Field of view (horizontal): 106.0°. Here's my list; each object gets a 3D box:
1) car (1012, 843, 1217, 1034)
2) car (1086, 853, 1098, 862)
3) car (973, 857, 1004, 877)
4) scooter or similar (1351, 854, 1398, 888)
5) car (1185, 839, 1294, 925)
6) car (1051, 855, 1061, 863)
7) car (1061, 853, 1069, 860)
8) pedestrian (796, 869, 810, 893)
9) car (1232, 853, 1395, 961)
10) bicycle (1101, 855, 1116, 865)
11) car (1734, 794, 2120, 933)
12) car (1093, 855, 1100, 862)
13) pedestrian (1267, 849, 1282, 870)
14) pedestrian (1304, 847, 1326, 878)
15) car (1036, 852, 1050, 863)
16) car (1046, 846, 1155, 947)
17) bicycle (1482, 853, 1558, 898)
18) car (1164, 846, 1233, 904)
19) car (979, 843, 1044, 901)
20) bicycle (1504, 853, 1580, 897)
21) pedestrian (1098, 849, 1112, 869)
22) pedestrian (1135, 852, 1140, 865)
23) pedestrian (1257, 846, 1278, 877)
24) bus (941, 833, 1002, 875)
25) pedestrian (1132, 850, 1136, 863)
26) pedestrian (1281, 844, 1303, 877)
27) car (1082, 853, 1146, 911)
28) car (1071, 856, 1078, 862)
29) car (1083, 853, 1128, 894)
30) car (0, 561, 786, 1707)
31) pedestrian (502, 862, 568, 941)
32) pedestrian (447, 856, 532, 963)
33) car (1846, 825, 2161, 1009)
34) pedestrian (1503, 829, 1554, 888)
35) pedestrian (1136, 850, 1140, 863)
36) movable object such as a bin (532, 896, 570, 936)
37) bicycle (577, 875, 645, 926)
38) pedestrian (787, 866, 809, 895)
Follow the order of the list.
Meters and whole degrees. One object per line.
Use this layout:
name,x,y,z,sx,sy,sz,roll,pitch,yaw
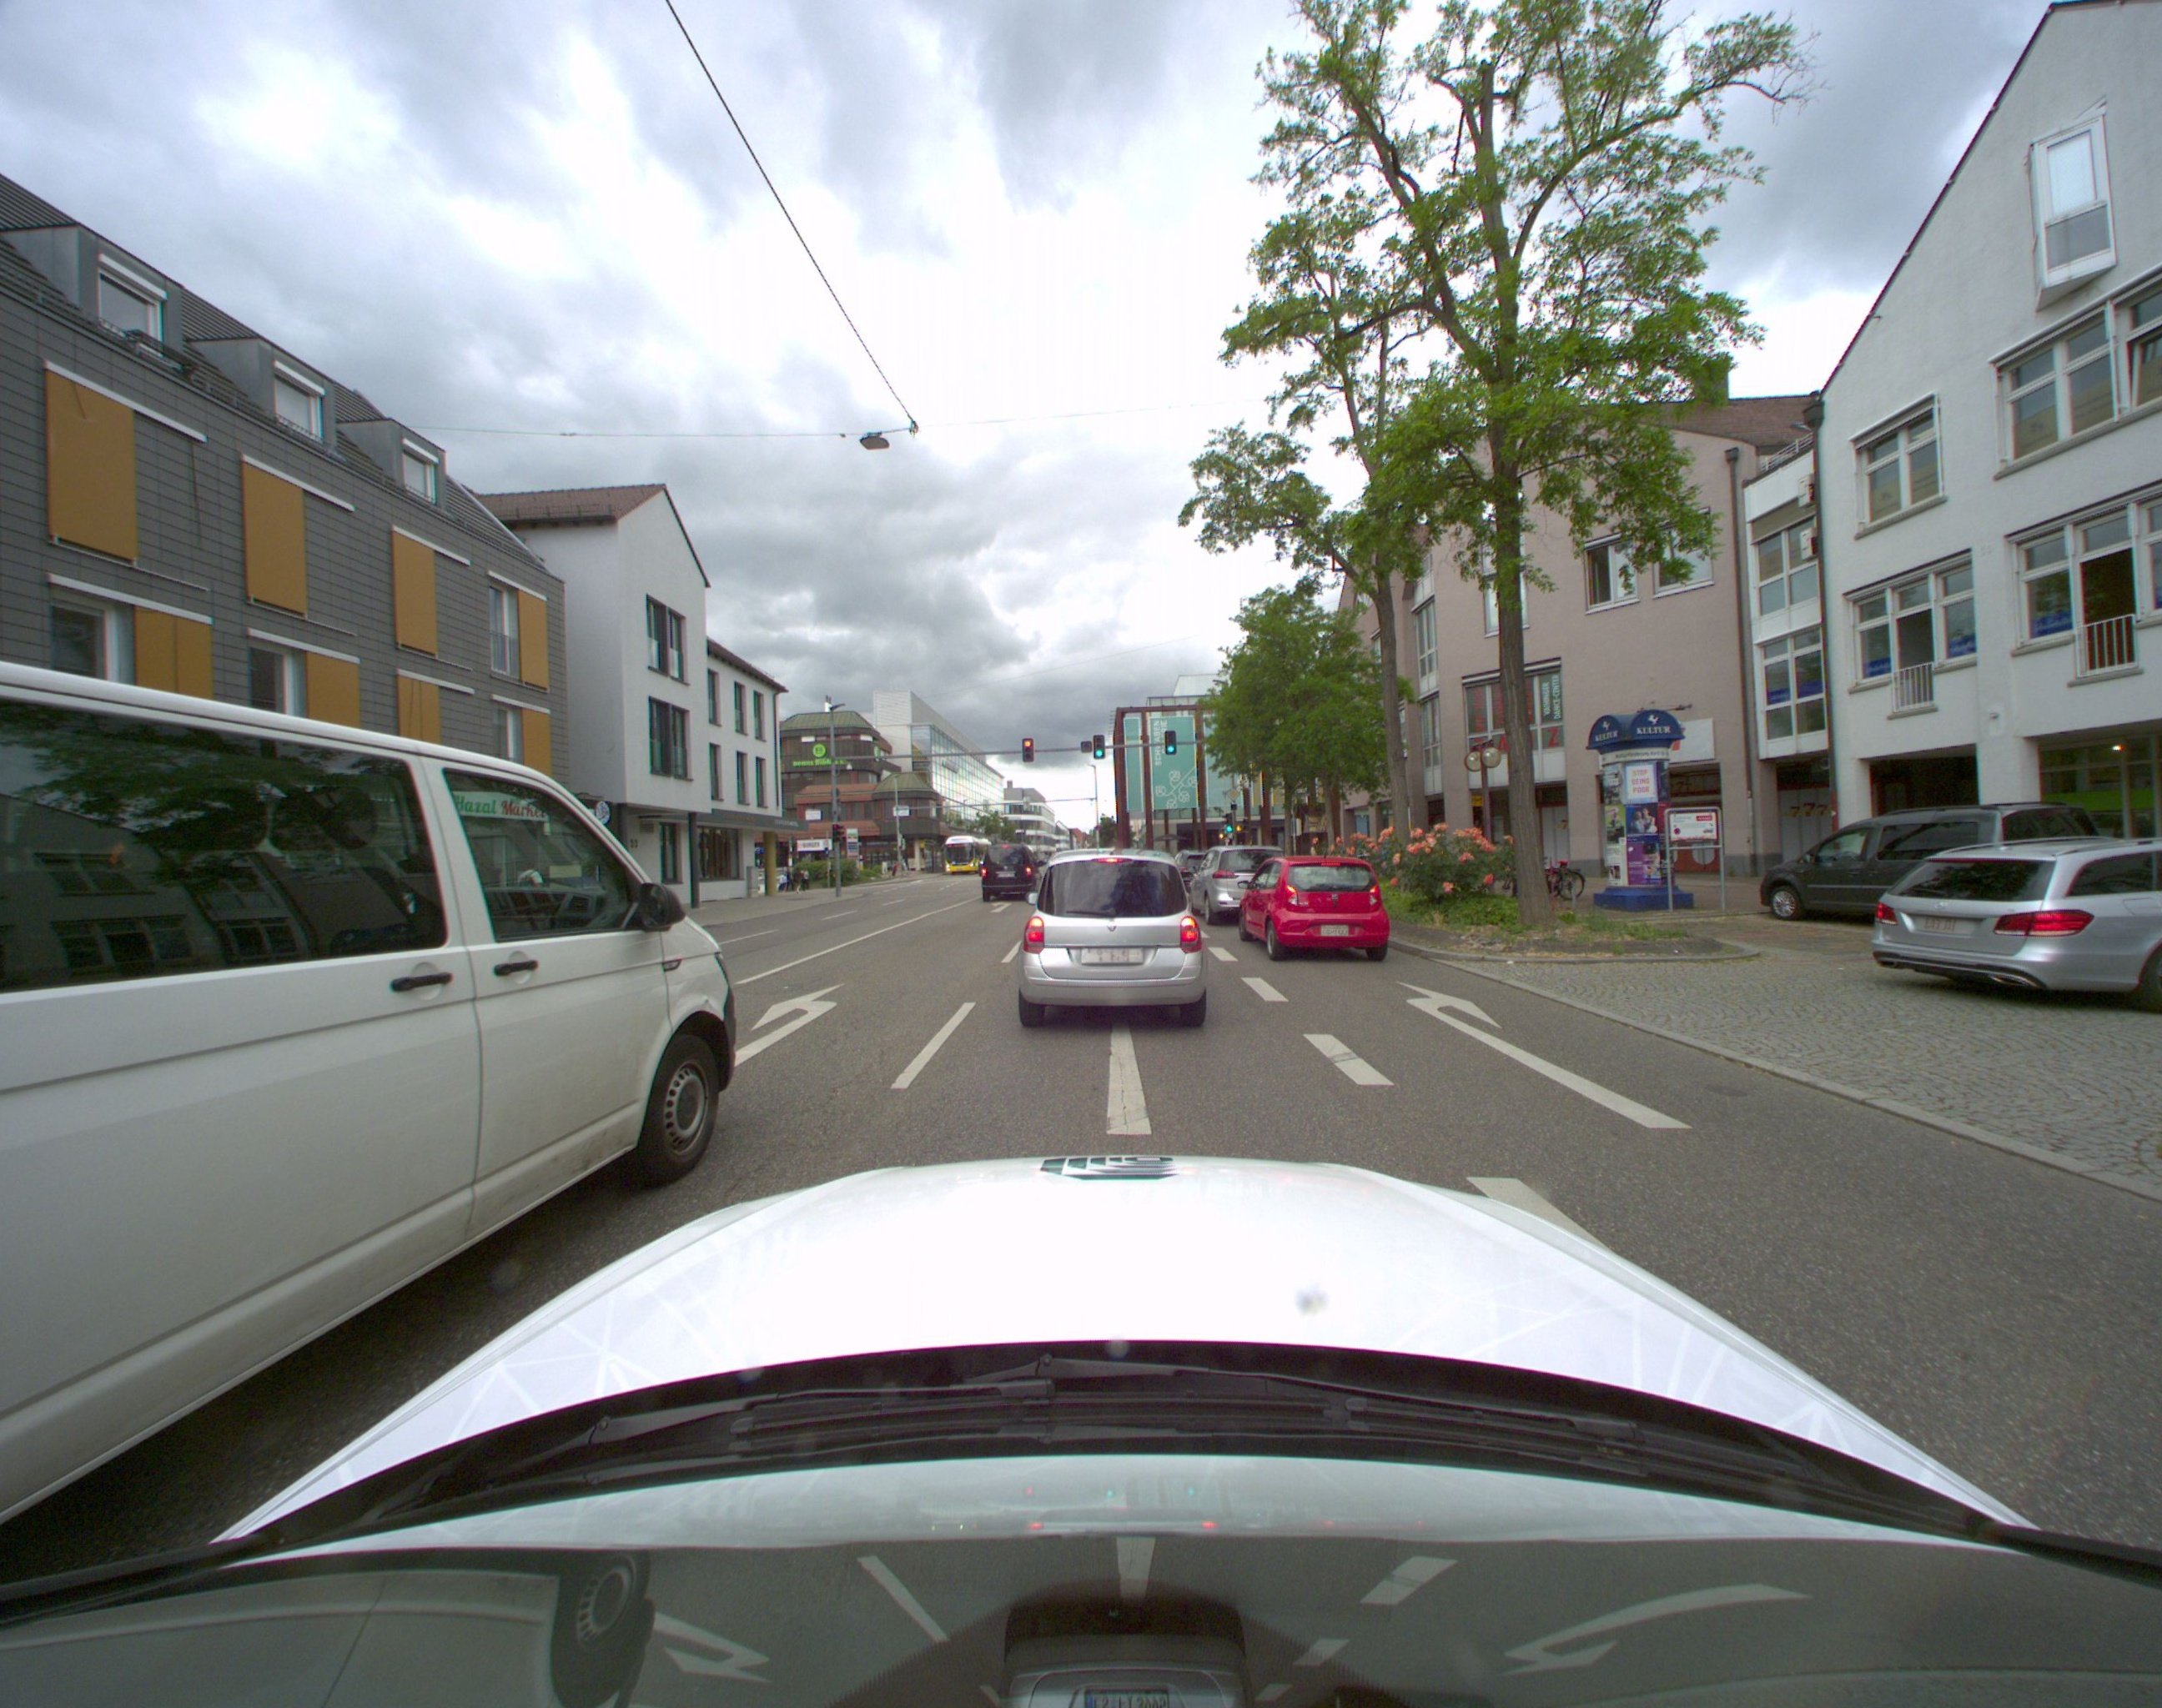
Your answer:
car,0.328,0.687,8.465,1.663,1.554,3.643,0,0,2
car,1.805,0.553,133.323,1.654,1.465,4.002,-3,0,2
car,-7.303,0.983,64.619,1.752,1.448,4.037,-3,0,2
scooter or similar,9.960,0.581,27.723,0.471,1.087,1.878,-3,-1,-15
car,3.420,0.548,18.322,1.733,1.701,4.382,0,0,2
car,-4.811,0.896,156.069,1.654,1.465,4.002,-3,0,2
car,-3.611,0.635,183.987,1.654,1.465,4.002,-3,0,2
pedestrian,-18.192,1.767,53.339,0.636,1.588,0.526,-2,0,3
car,3.450,0.706,12.733,1.620,1.448,3.643,0,0,2
bicycle,2.991,0.646,88.198,1.553,0.992,0.753,-2,0,4
car,13.198,0.130,13.183,1.729,1.804,4.260,-3,0,-1
car,3.636,1.013,192.780,1.654,1.465,4.002,-3,0,2
pedestrian,14.491,0.412,61.024,0.818,1.595,1.040,-2,0,2
pedestrian,13.574,0.488,47.311,0.876,1.767,1.120,-2,0,-1
car,-5.392,0.466,115.682,1.654,1.465,4.002,-3,0,2
car,0.359,0.648,14.344,1.663,1.554,3.643,0,0,2
bicycle,10.752,0.535,19.962,1.549,1.048,0.409,-2,0,43
car,3.682,0.605,26.162,1.733,1.701,4.382,0,0,2
car,-2.303,0.566,28.118,1.701,1.820,4.573,0,0,2
bicycle,11.409,0.532,20.168,1.549,1.048,0.409,-2,0,43
pedestrian,1.973,0.411,66.813,0.861,1.646,0.685,-2,0,36
pedestrian,5.168,0.391,74.575,0.445,1.220,0.607,-2,0,4
pedestrian,10.422,0.413,45.549,0.876,1.681,1.120,-2,0,-1
bus,-9.865,-0.059,75.094,2.975,3.327,12.318,-5,0,4
pedestrian,6.302,0.280,97.026,0.425,1.549,0.481,-2,0,0
pedestrian,11.961,0.364,46.266,0.876,1.767,1.120,-2,0,-1
car,0.907,0.710,22.823,1.663,1.495,3.643,0,0,2
car,-1.874,1.313,225.218,1.654,1.465,4.002,-3,0,2
car,0.956,0.701,31.769,1.663,1.495,3.643,0,0,2
car,-2.818,0.508,2.395,1.986,2.013,4.842,-1,0,2
pedestrian,-12.014,1.023,17.934,0.879,1.643,0.977,-2,0,41
pedestrian,-10.693,0.972,14.762,0.704,1.839,1.029,-2,0,3
car,10.518,0.477,7.832,4.622,1.453,1.740,-3,0,1
pedestrian,12.962,0.131,23.635,0.806,1.626,1.093,-3,0,-1
pedestrian,6.817,0.277,97.163,0.425,1.549,0.481,-2,0,0
movable object such as a bin,-12.636,1.463,19.414,0.549,0.899,0.507,-2,0,0
bicycle,-12.665,1.218,22.023,0.580,1.232,2.119,-2,0,0
pedestrian,-17.706,1.664,51.008,0.944,1.755,0.945,-2,0,3
